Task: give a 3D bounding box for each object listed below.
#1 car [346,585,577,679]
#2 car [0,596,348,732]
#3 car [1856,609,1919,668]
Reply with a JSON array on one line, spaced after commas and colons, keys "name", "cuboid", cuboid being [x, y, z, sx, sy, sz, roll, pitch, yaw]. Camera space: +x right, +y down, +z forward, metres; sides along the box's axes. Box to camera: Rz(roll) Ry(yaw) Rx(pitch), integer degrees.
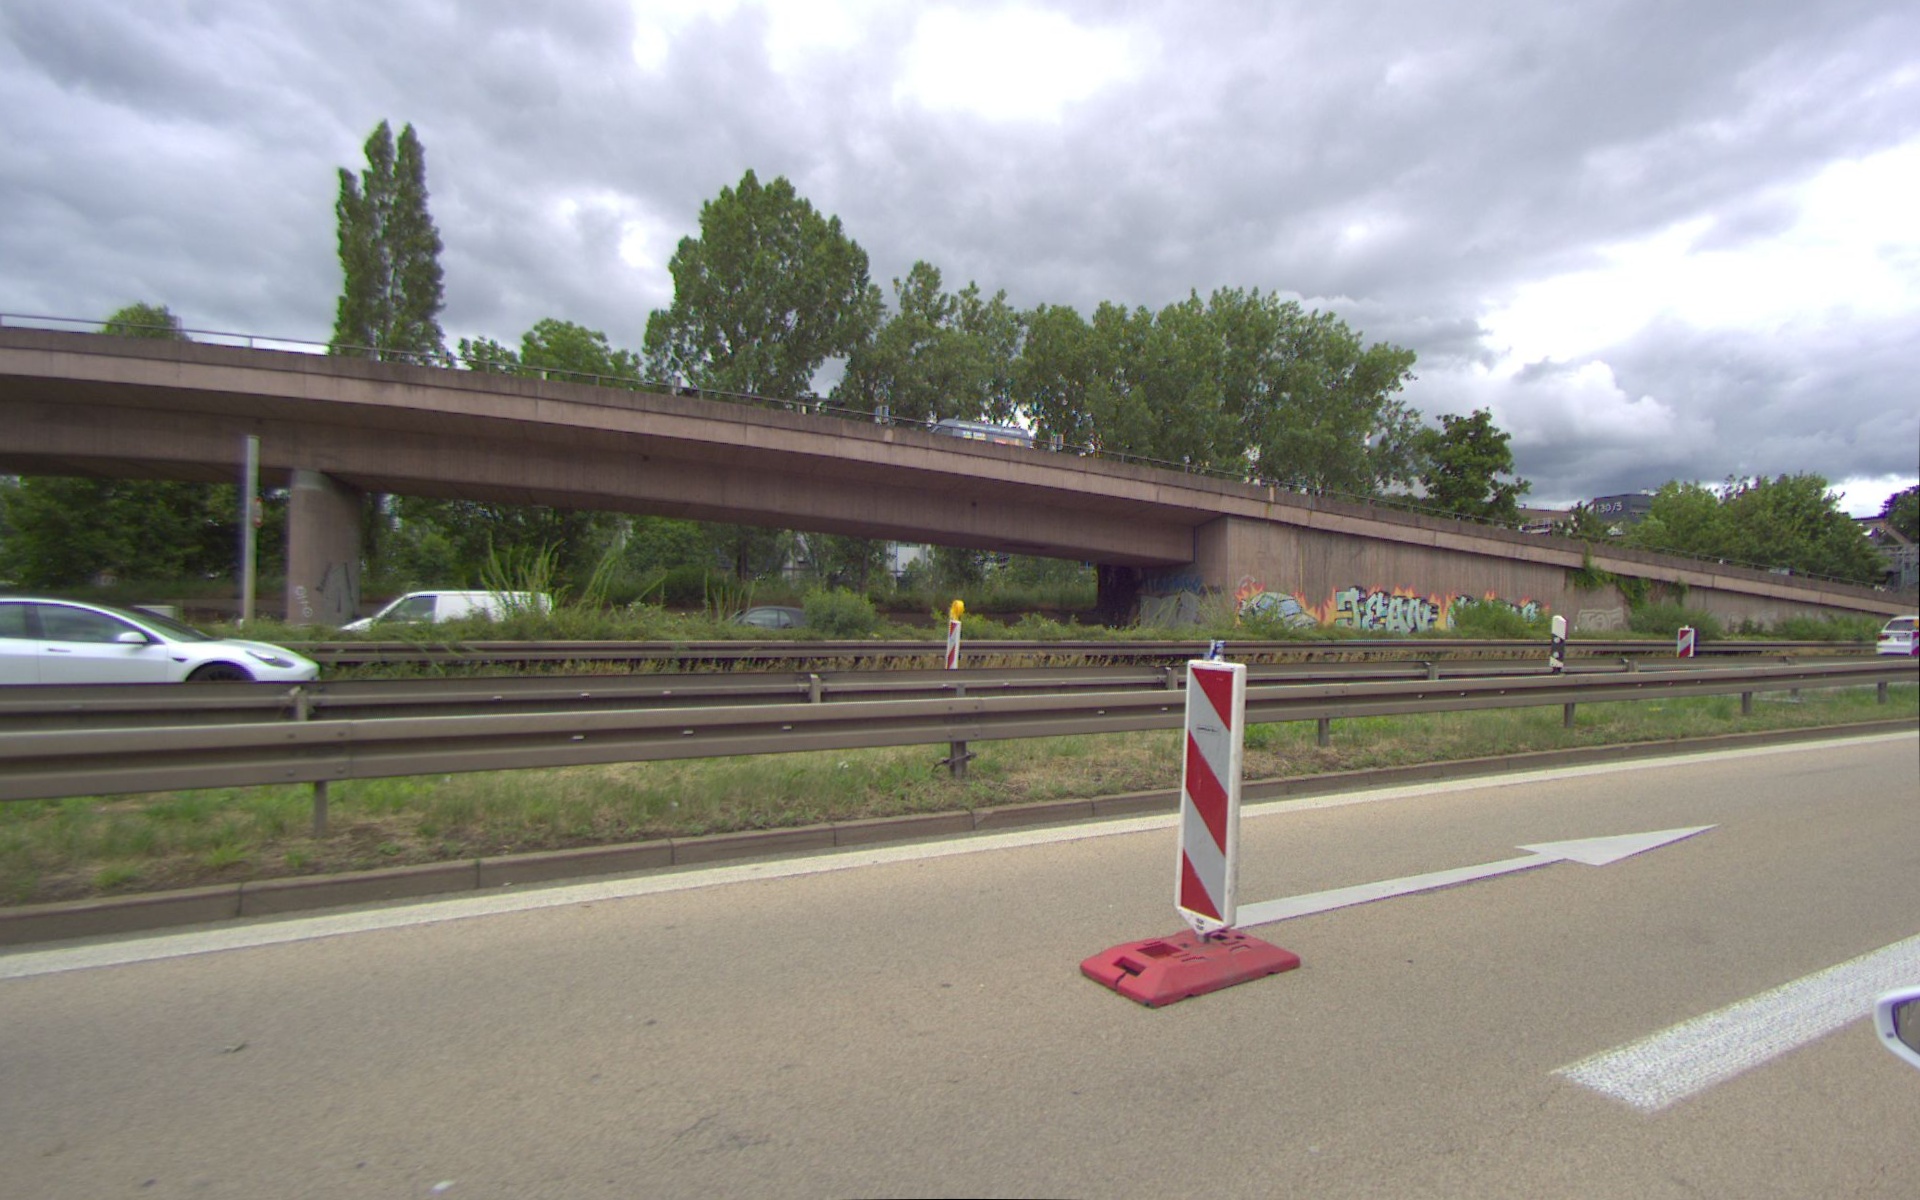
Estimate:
[{"name": "car", "cuboid": [-11.648, 0.766, 23.699, 4.650, 2.040, 1.985, 2, -1, -28]}, {"name": "car", "cuboid": [-10.293, 0.721, 12.061, 4.734, 1.474, 1.988, 2, -1, -24]}, {"name": "car", "cuboid": [29.768, 1.195, 30.772, 4.044, 1.735, 1.988, 2, -1, -24]}]
